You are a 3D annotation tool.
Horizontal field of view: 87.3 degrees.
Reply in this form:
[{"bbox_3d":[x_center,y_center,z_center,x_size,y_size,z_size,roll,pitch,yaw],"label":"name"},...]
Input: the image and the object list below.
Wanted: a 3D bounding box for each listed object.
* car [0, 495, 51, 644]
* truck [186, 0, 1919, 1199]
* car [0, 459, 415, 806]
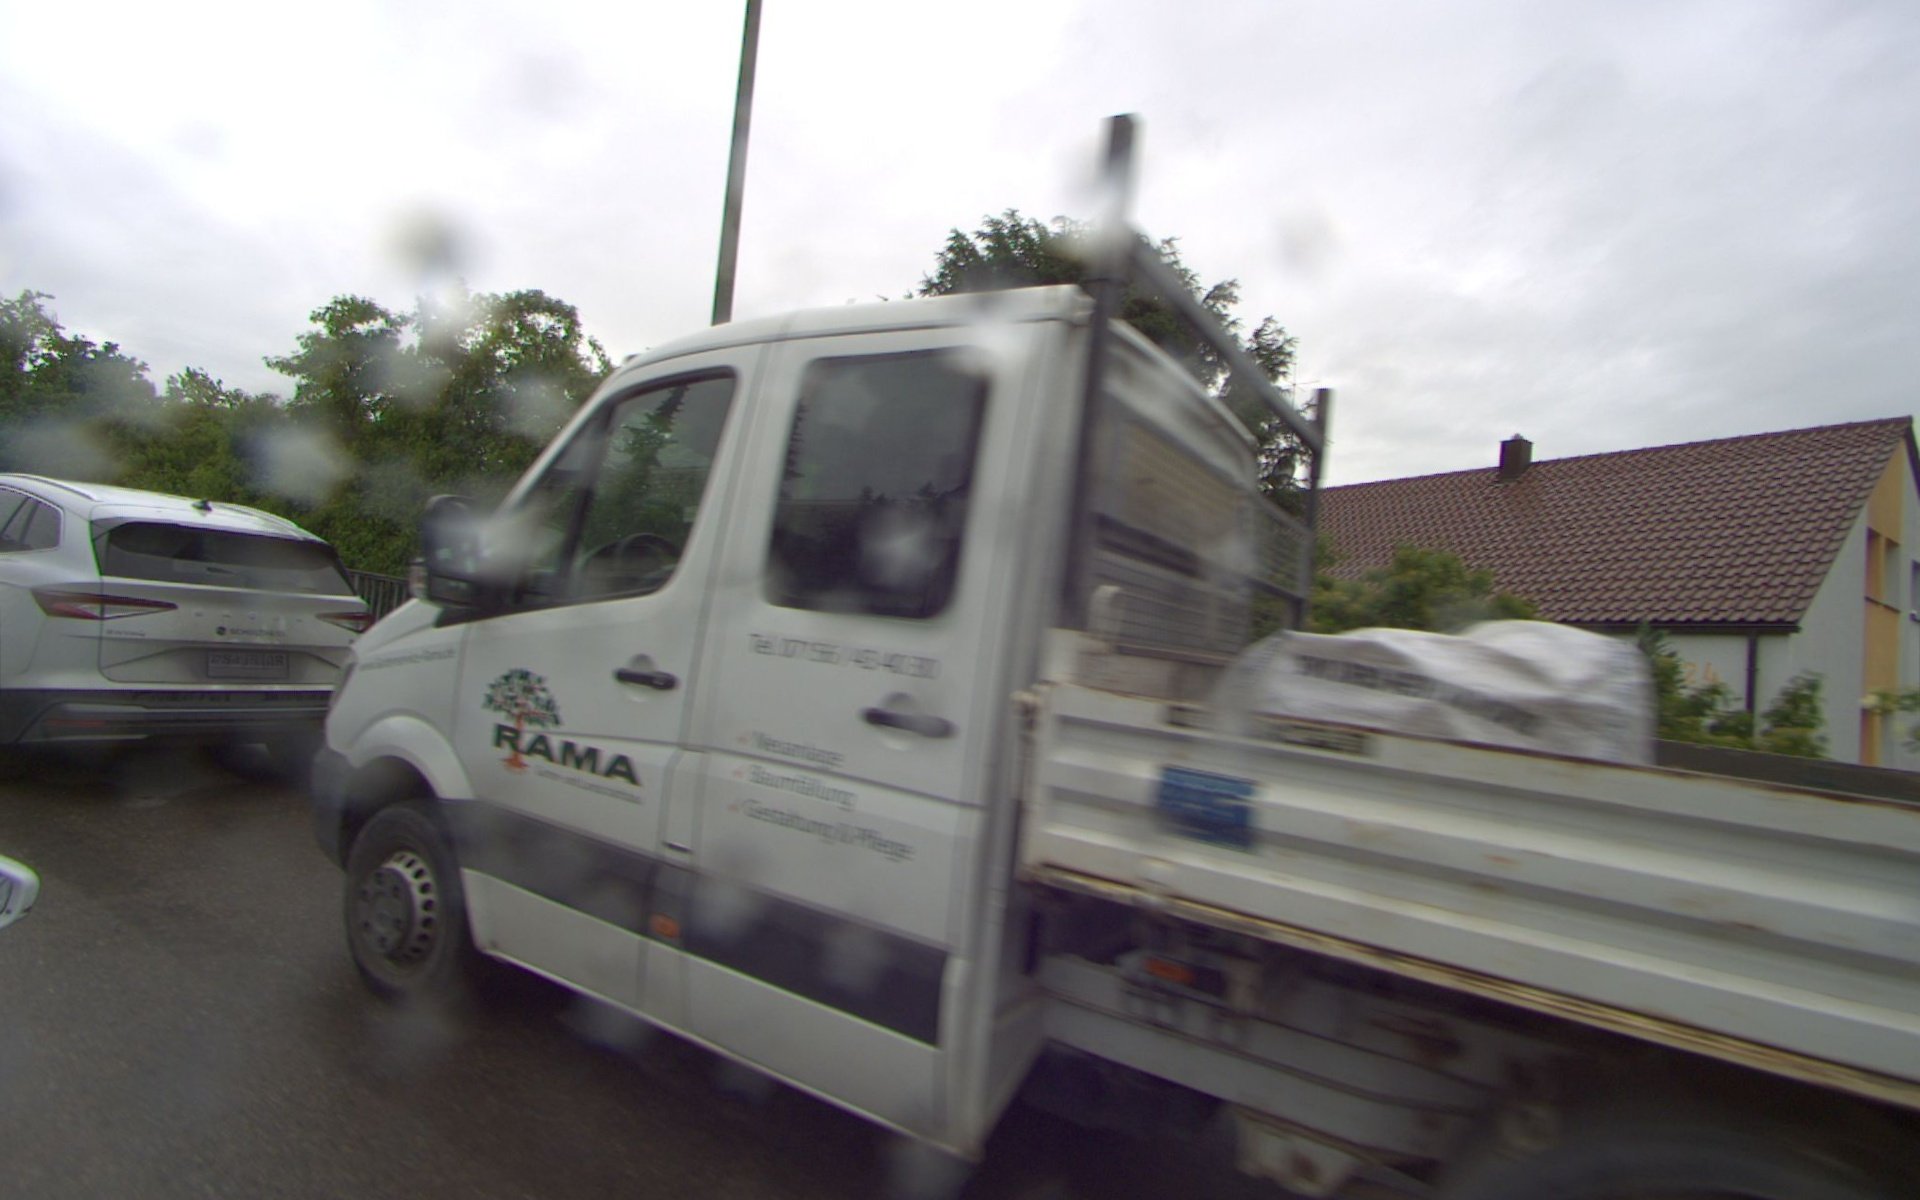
[{"bbox_3d":[-11.860,-0.581,10.684,4.903,1.455,1.835,6,-1,31],"label":"car"},{"bbox_3d":[0.465,0.314,3.038,6.432,2.663,2.242,6,-1,33],"label":"truck"},{"bbox_3d":[-5.858,0.021,6.658,4.589,1.624,1.762,6,-1,31],"label":"car"}]
